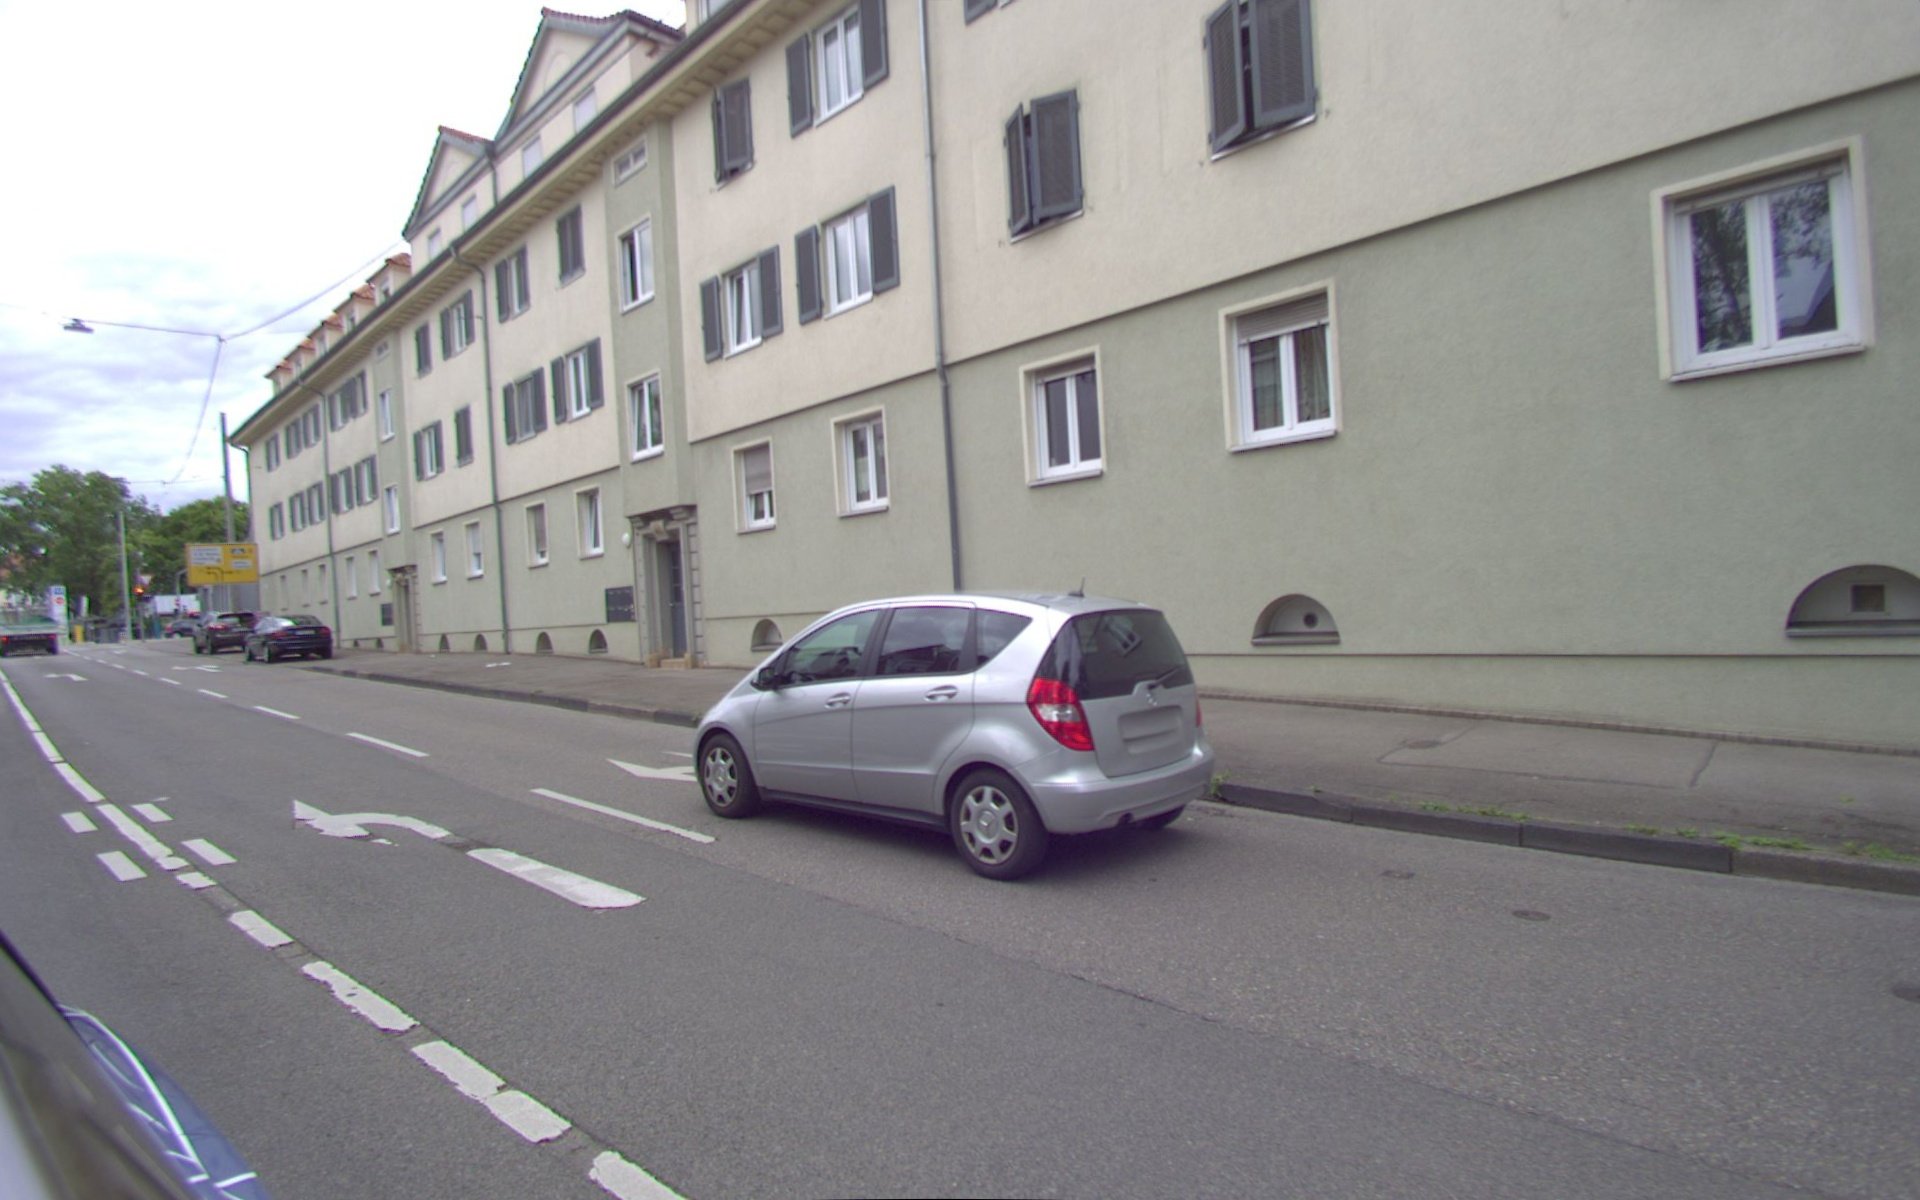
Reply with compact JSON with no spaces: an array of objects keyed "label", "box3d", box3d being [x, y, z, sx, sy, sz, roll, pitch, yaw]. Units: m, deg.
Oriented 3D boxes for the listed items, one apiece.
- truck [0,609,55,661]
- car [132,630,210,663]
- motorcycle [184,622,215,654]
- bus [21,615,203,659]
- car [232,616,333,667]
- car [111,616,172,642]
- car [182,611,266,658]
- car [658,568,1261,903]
[{"label":"truck","box3d":[-44.153,1.635,47.594,2.096,2.218,6.594,-2,0,-44]},{"label":"car","box3d":[-54.505,3.195,69.993,2.000,2.029,3.944,-2,0,42]},{"label":"motorcycle","box3d":[-32.457,1.623,43.189,2.230,1.300,0.618,-2,2,44]},{"label":"bus","box3d":[-71.823,3.046,86.109,11.676,3.086,2.003,-2,-2,-42]},{"label":"car","box3d":[-21.375,1.267,31.853,4.848,1.413,1.691,-2,1,45]},{"label":"car","box3d":[-73.760,2.598,91.235,1.999,2.206,3.946,-2,-1,40]},{"label":"car","box3d":[-28.840,1.339,39.615,4.697,1.645,1.802,-2,1,44]},{"label":"car","box3d":[-0.219,0.672,6.873,3.976,1.617,1.704,-1,0,43]}]
